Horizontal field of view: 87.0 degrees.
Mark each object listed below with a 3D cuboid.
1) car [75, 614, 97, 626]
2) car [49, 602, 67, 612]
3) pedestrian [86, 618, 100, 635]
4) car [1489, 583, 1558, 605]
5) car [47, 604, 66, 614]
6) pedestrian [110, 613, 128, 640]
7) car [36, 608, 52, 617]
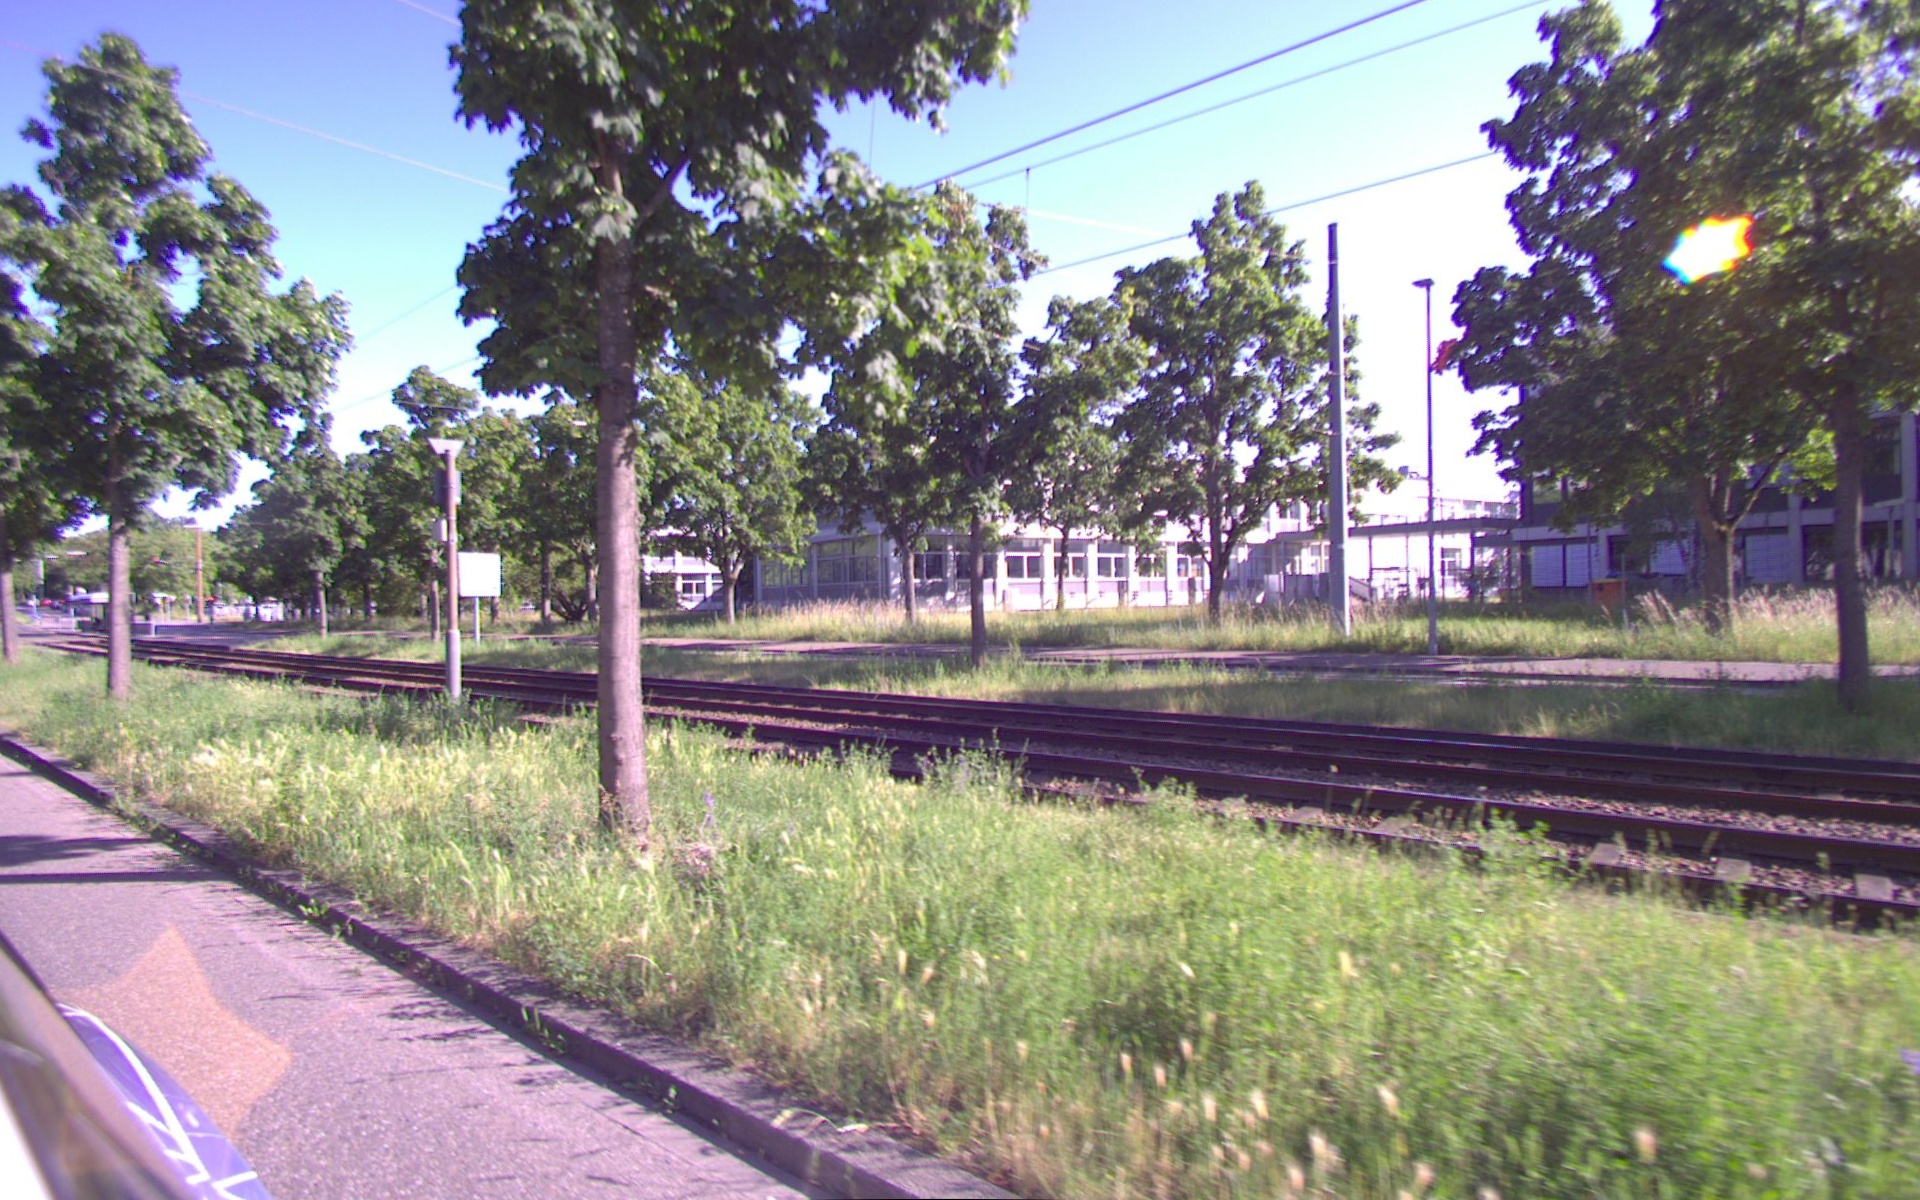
[{"bbox_3d":[-118.460,2.715,137.141,3.454,1.597,1.749,-1,-1,41],"label":"car"},{"bbox_3d":[-145.964,1.161,163.726,3.454,1.597,1.679,-1,-1,41],"label":"car"},{"bbox_3d":[-65.954,2.017,77.008,0.679,1.258,0.643,-1,-3,33],"label":"pedestrian"},{"bbox_3d":[35.847,-0.405,64.397,4.472,1.276,1.853,-2,0,-31],"label":"car"},{"bbox_3d":[-139.105,1.377,155.806,3.454,1.597,1.679,-1,-1,41],"label":"car"},{"bbox_3d":[-55.493,1.749,66.755,0.781,1.765,0.776,-1,0,41],"label":"pedestrian"},{"bbox_3d":[-161.402,2.265,178.308,3.454,1.597,1.679,-1,-1,41],"label":"car"}]
